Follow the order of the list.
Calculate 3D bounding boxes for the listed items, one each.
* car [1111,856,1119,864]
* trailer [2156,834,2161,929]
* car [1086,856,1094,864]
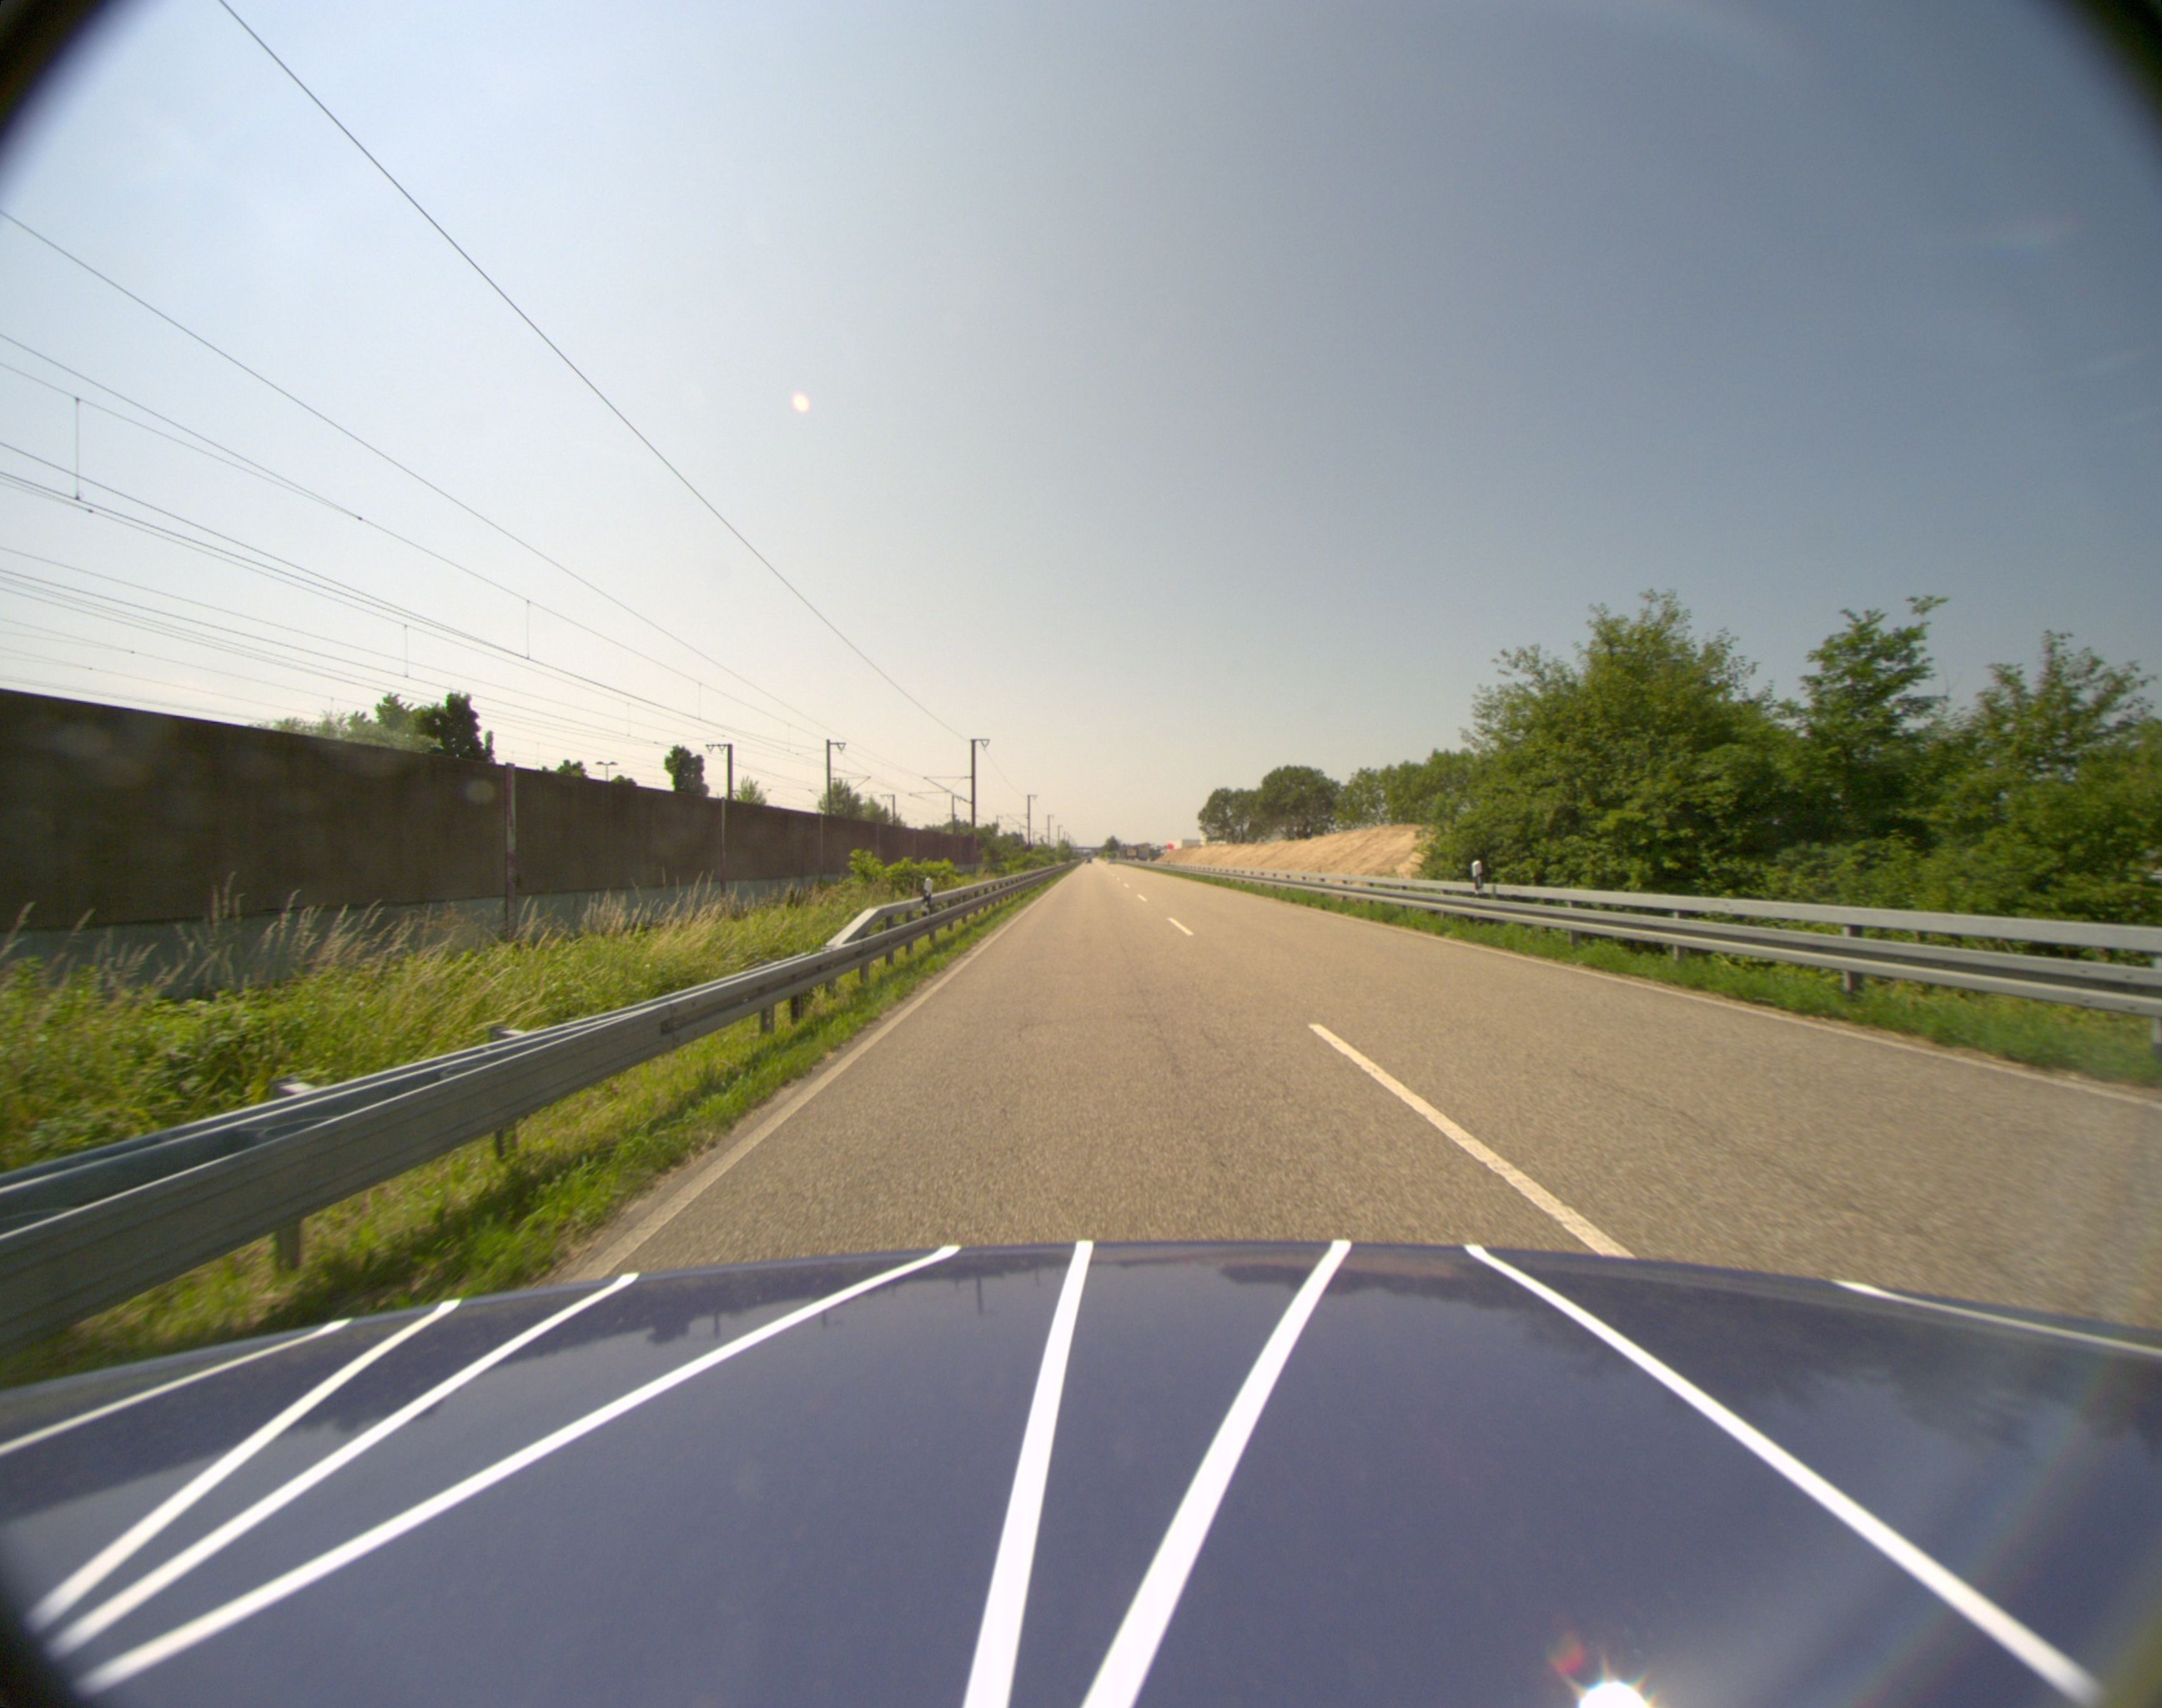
[{"bbox_3d":[6.958,1.190,156.208,1.599,1.567,3.828,-2,0,0],"label":"car"},{"bbox_3d":[37.134,0.913,21.112,2.444,3.205,8.809,-3,1,4],"label":"trailer"},{"bbox_3d":[2.343,1.527,196.175,1.999,2.002,3.999,-2,0,-1],"label":"car"}]
